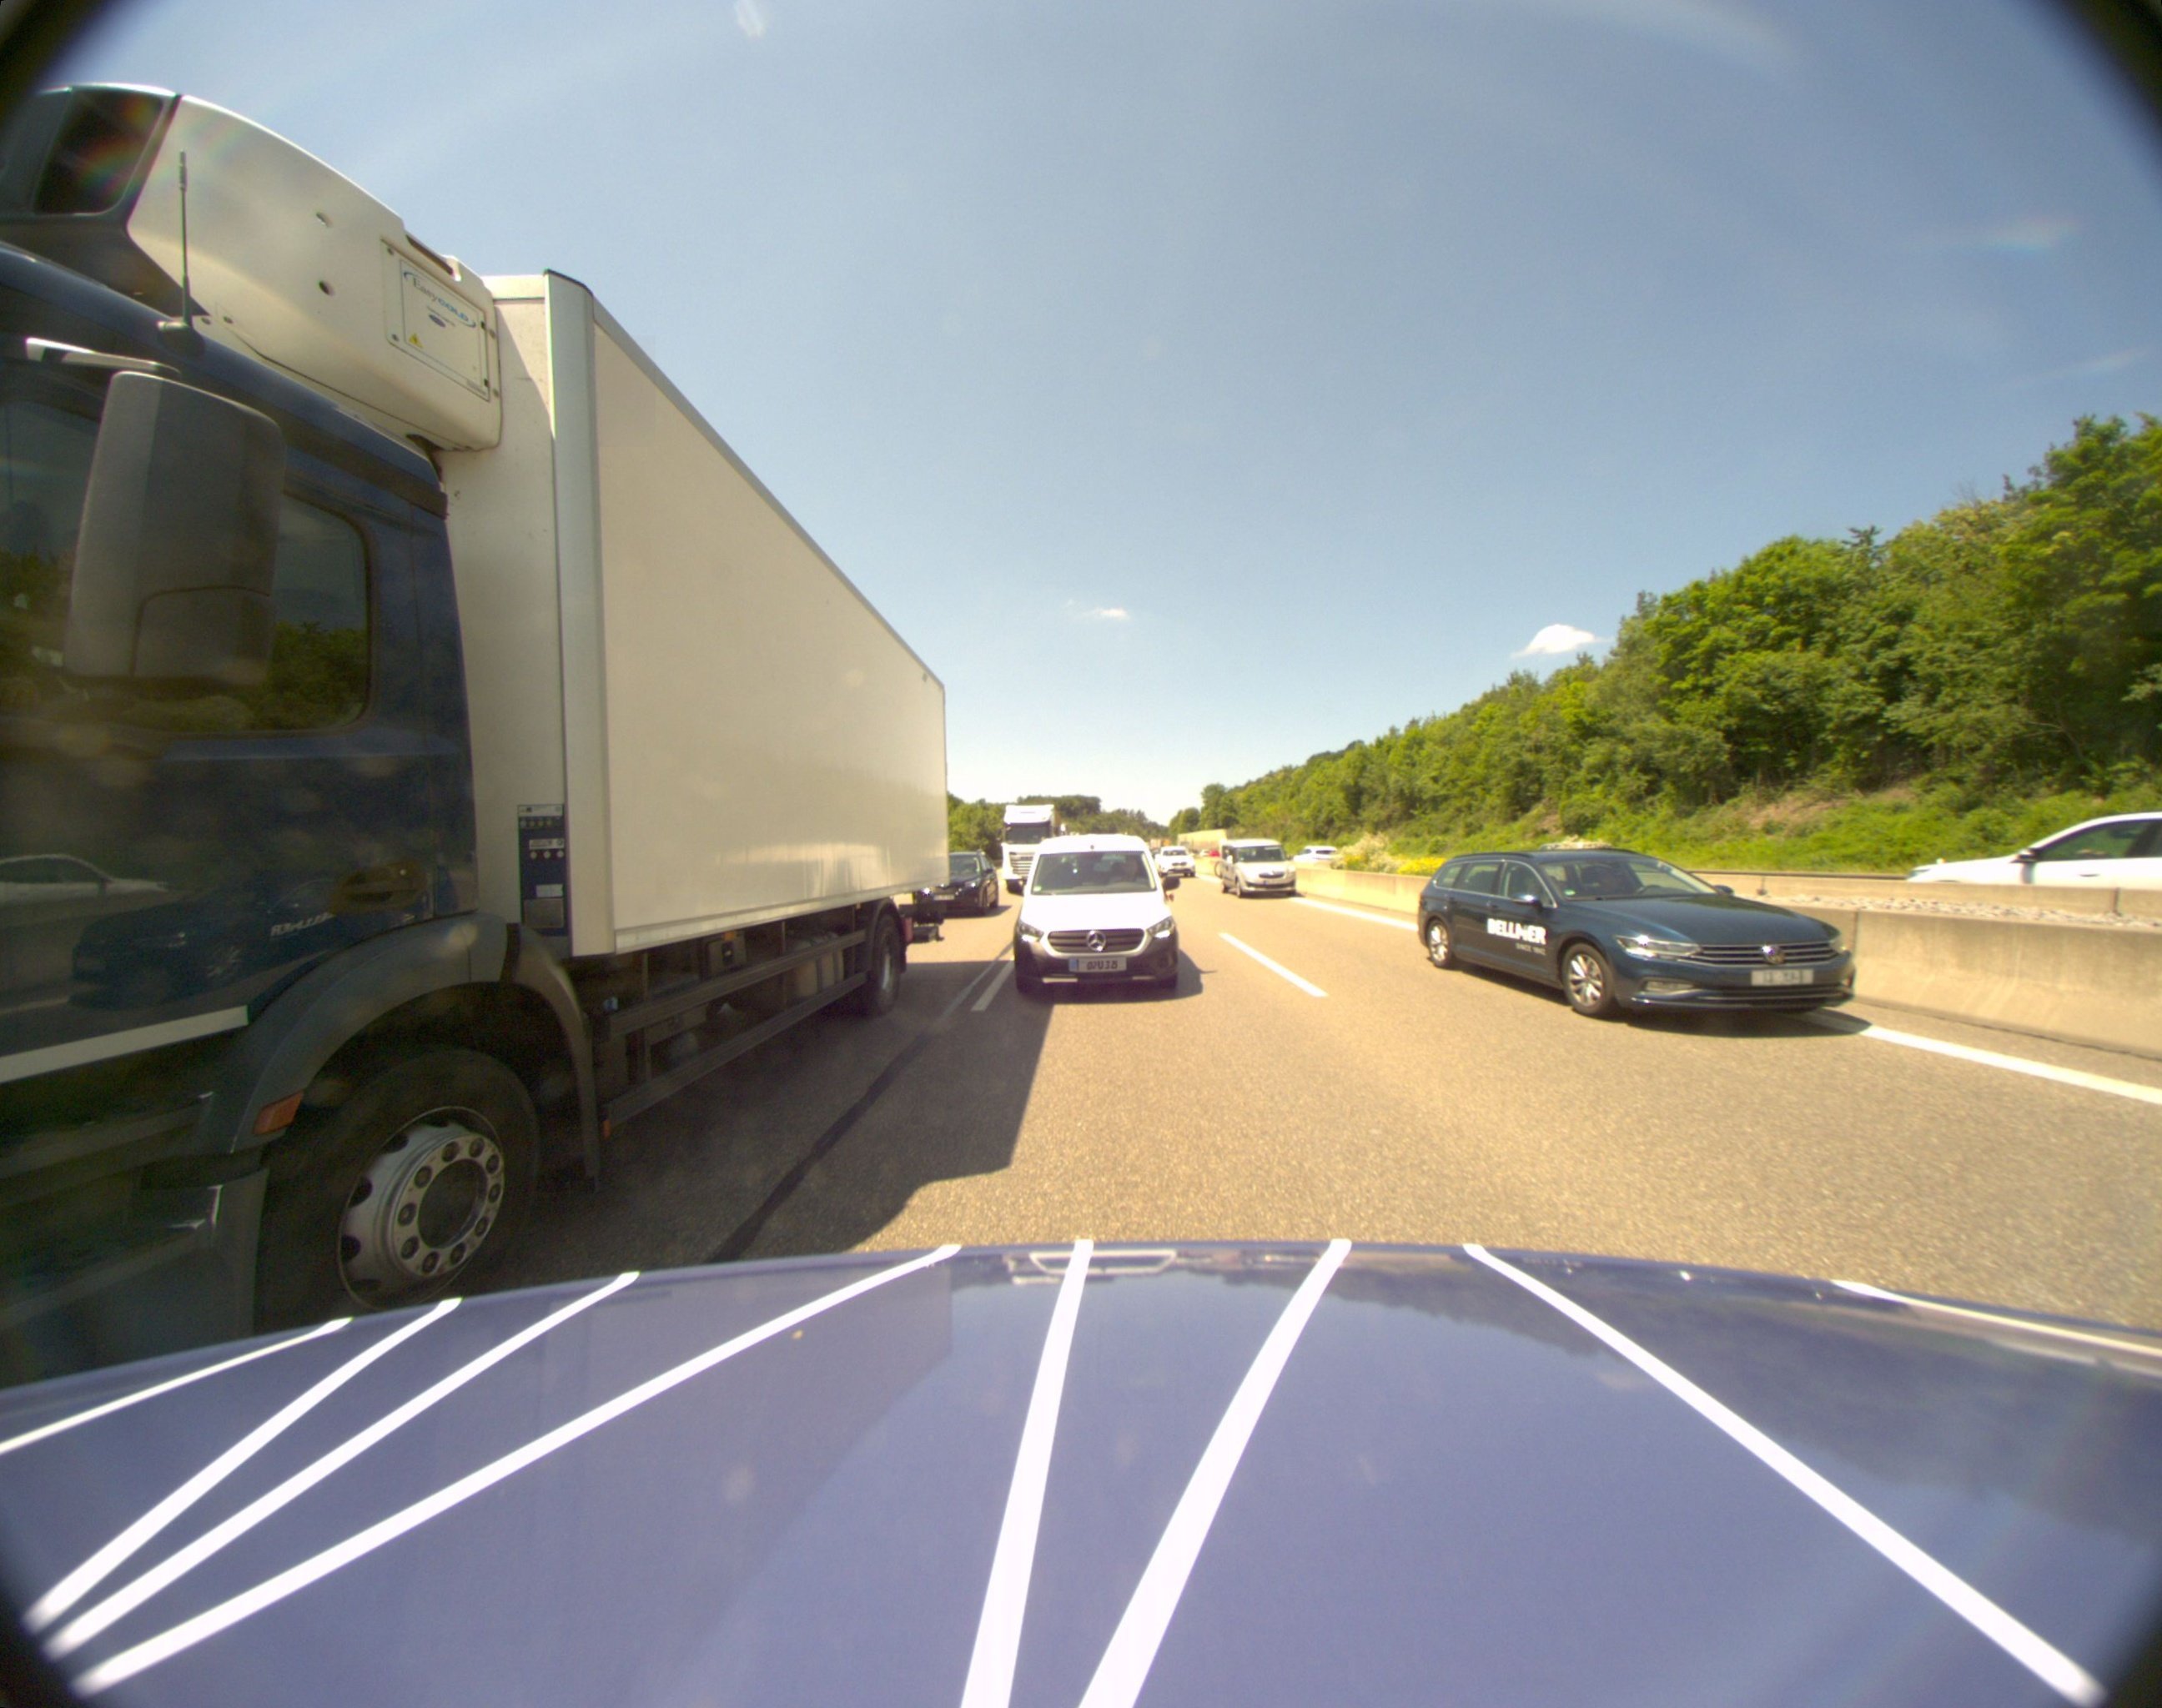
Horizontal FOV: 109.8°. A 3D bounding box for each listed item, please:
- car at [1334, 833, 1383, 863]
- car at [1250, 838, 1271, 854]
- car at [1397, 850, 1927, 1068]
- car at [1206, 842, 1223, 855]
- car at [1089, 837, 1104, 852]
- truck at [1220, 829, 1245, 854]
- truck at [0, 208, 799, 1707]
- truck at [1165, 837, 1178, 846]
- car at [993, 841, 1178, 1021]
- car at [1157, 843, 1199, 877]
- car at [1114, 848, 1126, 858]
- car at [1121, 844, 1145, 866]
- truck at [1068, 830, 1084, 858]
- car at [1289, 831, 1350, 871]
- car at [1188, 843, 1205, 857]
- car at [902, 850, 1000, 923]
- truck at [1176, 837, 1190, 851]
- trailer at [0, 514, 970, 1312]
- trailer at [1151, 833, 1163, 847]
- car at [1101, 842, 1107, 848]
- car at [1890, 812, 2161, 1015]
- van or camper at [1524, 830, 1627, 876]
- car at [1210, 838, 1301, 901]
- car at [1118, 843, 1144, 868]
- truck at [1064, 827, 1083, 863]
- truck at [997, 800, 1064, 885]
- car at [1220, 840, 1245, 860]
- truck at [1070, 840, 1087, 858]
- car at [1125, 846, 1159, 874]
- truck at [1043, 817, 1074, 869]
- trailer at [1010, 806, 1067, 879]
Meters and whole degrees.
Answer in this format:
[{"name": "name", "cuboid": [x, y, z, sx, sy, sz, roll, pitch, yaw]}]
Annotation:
[{"name": "car", "cuboid": [19.476, -0.450, 53.535, 1.998, 2.002, 4.282, -2, 2, 2]}, {"name": "car", "cuboid": [24.887, -1.144, 105.478, 1.998, 2.002, 3.999, -2, 2, 0]}, {"name": "car", "cuboid": [5.110, 0.737, 7.745, 1.879, 1.442, 4.677, -2, 1, 1]}, {"name": "car", "cuboid": [21.231, -0.877, 120.987, 1.857, 1.936, 4.000, -2, 0, 0]}, {"name": "car", "cuboid": [2.216, -1.427, 112.175, 1.999, 2.002, 3.998, -2, 2, -1]}, {"name": "truck", "cuboid": [25.452, -2.208, 128.120, 2.699, 3.967, 7.988, -2, 2, 1]}, {"name": "truck", "cuboid": [-3.174, 0.269, 2.757, 2.562, 2.924, 4.103, -1, 2, 2]}, {"name": "truck", "cuboid": [22.697, -3.205, 191.420, 2.357, 2.002, 6.490, -2, 2, 0]}, {"name": "car", "cuboid": [0.104, 0.722, 9.614, 1.756, 1.681, 4.363, -2, 2, 2]}, {"name": "car", "cuboid": [5.316, 0.273, 41.995, 1.824, 1.696, 3.999, -2, 2, 1]}, {"name": "car", "cuboid": [6.644, -0.213, 130.782, 1.803, 1.660, 4.000, -2, 0, 0]}, {"name": "car", "cuboid": [5.171, 0.040, 75.740, 1.999, 2.002, 3.998, -2, 2, -1]}, {"name": "truck", "cuboid": [-0.728, -1.439, 118.286, 2.187, 4.073, 10.868, -2, 0, 0]}, {"name": "car", "cuboid": [12.921, -0.203, 41.391, 1.998, 2.002, 4.192, -2, 2, 0]}, {"name": "car", "cuboid": [17.096, -0.557, 112.456, 1.857, 1.936, 4.000, -2, 0, 0]}, {"name": "car", "cuboid": [-3.429, 0.796, 20.961, 1.999, 1.682, 4.609, -1, 2, -1]}, {"name": "truck", "cuboid": [21.975, -2.120, 164.313, 2.183, 2.868, 6.740, -2, 2, 0]}, {"name": "trailer", "cuboid": [-3.045, 0.213, 6.744, 2.562, 2.882, 7.882, -2, 1, 2]}, {"name": "trailer", "cuboid": [24.849, -4.546, 249.481, 2.956, 4.456, 10.814, -2, 2, 1]}, {"name": "car", "cuboid": [7.700, -3.078, 256.353, 1.998, 2.002, 3.998, -2, 2, 0]}, {"name": "car", "cuboid": [11.827, 0.567, 8.056, 1.998, 2.002, 4.347, -2, 2, 3]}, {"name": "van or camper", "cuboid": [23.661, -0.094, 36.605, 1.998, 2.002, 4.680, -2, 2, 2]}, {"name": "car", "cuboid": [5.600, 0.415, 24.965, 1.857, 1.762, 4.916, -2, 2, 1]}, {"name": "car", "cuboid": [4.091, 0.186, 63.170, 1.998, 2.001, 4.001, 0, -1, 2]}, {"name": "truck", "cuboid": [-0.865, -1.096, 98.318, 2.187, 4.438, 10.868, -2, 0, 0]}, {"name": "truck", "cuboid": [-2.575, -0.646, 40.859, 2.766, 4.061, 7.332, -2, 2, 2]}, {"name": "car", "cuboid": [16.743, -0.451, 83.929, 1.998, 2.002, 3.999, -2, 2, 2]}, {"name": "truck", "cuboid": [-0.612, -1.256, 190.494, 4.084, 4.403, 11.396, -2, 0, 0]}, {"name": "car", "cuboid": [4.210, 0.358, 52.937, 1.999, 1.747, 3.998, -2, 2, -1]}, {"name": "truck", "cuboid": [-1.986, -0.925, 70.903, 2.394, 4.438, 10.868, -2, 0, 0]}, {"name": "trailer", "cuboid": [-2.462, -0.796, 47.974, 2.766, 4.061, 11.614, 0, 2, 1]}]
